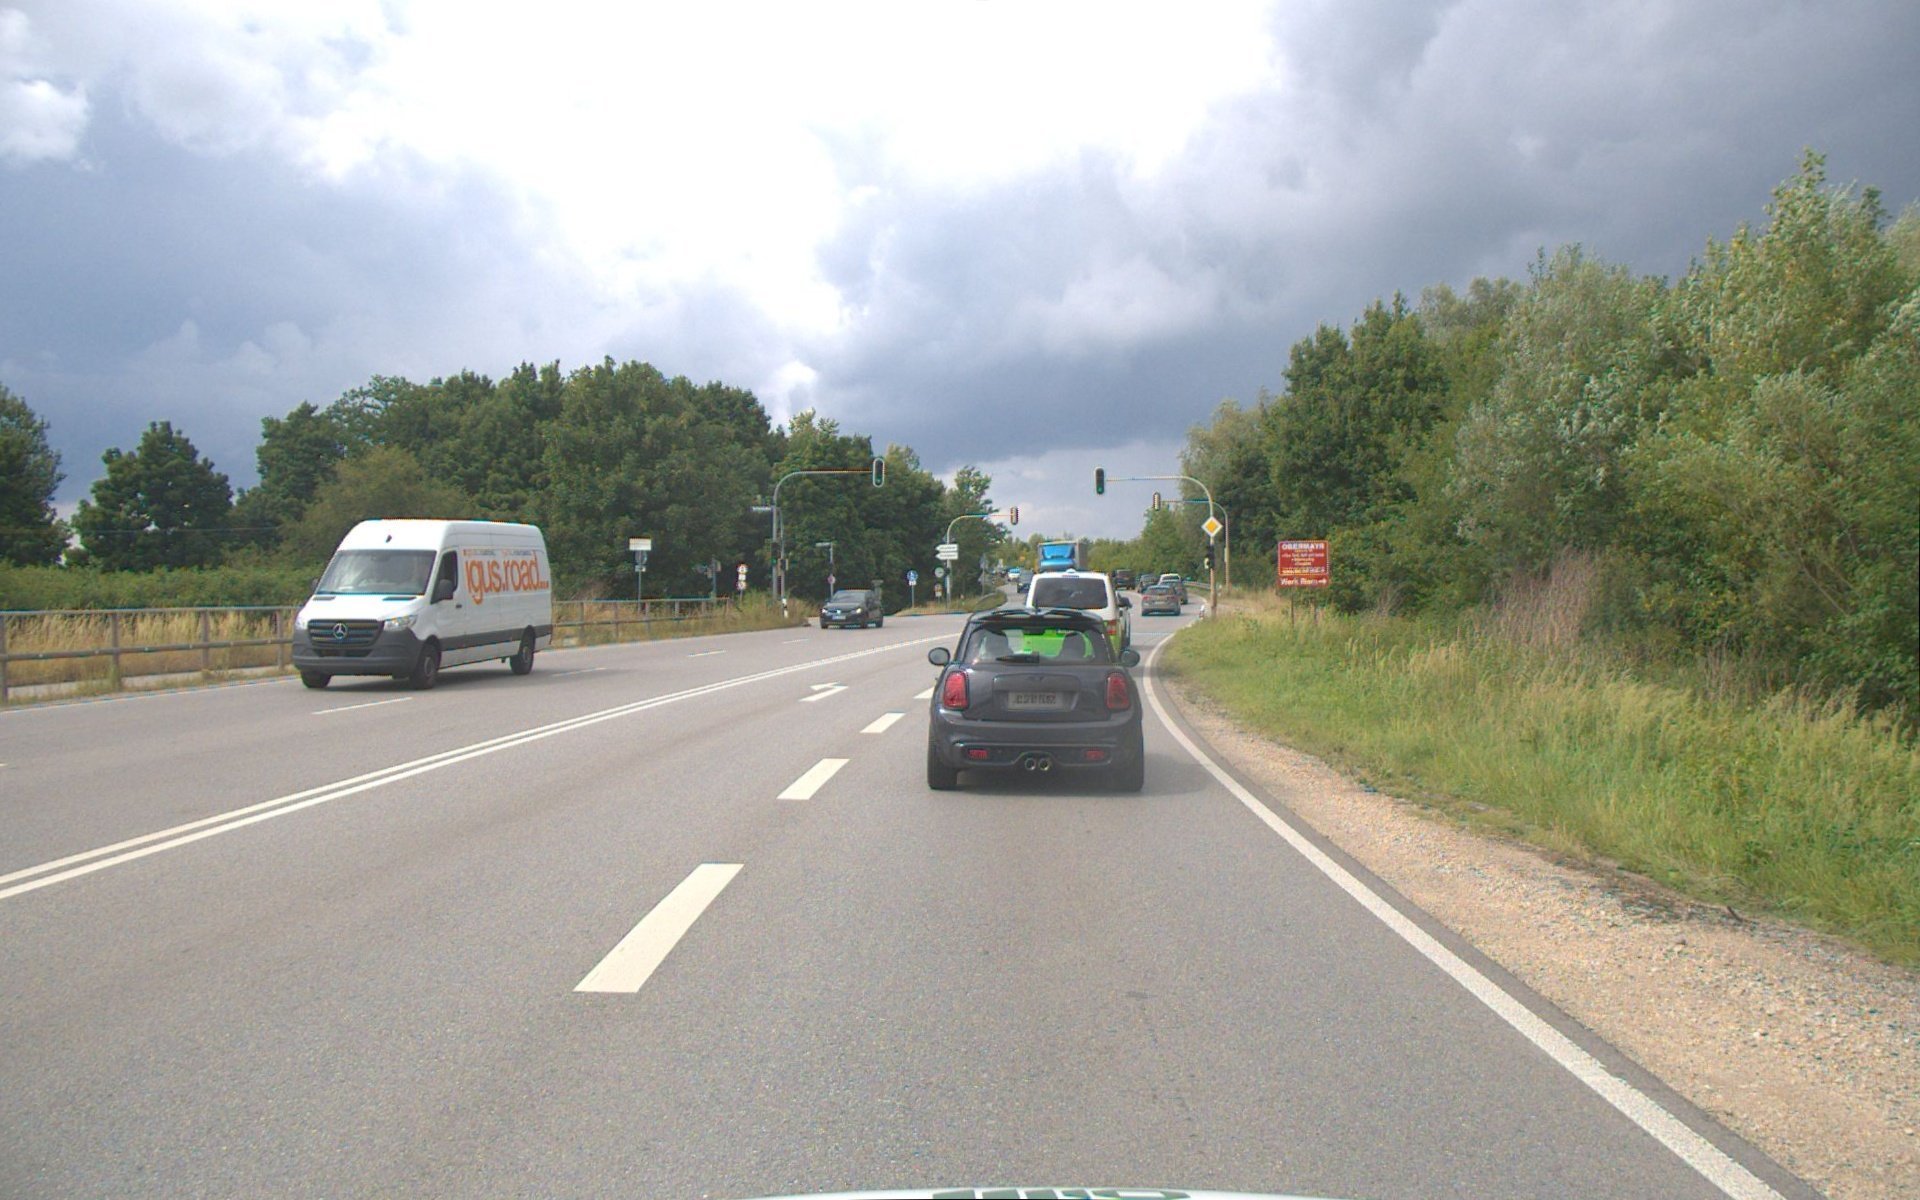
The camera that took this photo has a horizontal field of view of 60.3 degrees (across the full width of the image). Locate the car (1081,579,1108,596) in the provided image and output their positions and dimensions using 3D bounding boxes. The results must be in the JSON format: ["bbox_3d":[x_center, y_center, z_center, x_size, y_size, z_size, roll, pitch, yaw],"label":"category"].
[{"bbox_3d":[13.826,-1.301,170.506,1.955,1.725,4.479,0,0,-7],"label":"car"}]

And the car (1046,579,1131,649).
[{"bbox_3d":[3.342,0.366,42.475,1.951,1.713,4.003,0,-1,7],"label":"car"}]

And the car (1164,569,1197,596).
[{"bbox_3d":[15.572,-1.225,116.543,1.951,1.713,4.003,1,-1,13],"label":"car"}]

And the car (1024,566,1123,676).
[{"bbox_3d":[2.285,0.361,32.539,1.806,2.021,3.844,0,1,6],"label":"car"}]

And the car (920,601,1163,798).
[{"bbox_3d":[0.594,0.747,14.303,1.807,1.453,3.840,1,0,-1],"label":"car"}]

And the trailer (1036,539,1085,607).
[{"bbox_3d":[6.441,-1.696,104.847,2.473,4.172,6.741,0,0,9],"label":"trailer"}]

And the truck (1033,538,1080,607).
[{"bbox_3d":[5.961,-1.673,101.724,2.485,4.168,4.003,0,0,9],"label":"truck"}]

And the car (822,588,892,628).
[{"bbox_3d":[-3.876,0.276,62.930,1.904,1.466,4.003,0,0,8],"label":"car"}]

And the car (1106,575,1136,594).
[{"bbox_3d":[14.894,-1.459,153.103,1.954,1.725,4.481,0,0,-5],"label":"car"}]

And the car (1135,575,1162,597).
[{"bbox_3d":[15.620,-1.146,137.107,1.952,1.713,4.001,1,-1,3],"label":"car"}]

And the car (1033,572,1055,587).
[{"bbox_3d":[10.131,-2.487,199.982,1.955,1.818,4.479,0,0,-7],"label":"car"}]

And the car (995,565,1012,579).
[{"bbox_3d":[6.829,-4.448,261.318,1.957,2.049,3.991,1,-1,-9],"label":"car"}]

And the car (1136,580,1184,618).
[{"bbox_3d":[9.811,-0.009,80.826,1.951,1.713,4.003,1,-1,12],"label":"car"}]

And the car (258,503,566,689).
[{"bbox_3d":[-8.865,-0.061,27.692,2.382,2.721,6.892,0,0,4],"label":"car"}]

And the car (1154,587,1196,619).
[{"bbox_3d":[12.781,0.194,97.953,1.951,1.713,3.980,1,-1,15],"label":"car"}]
